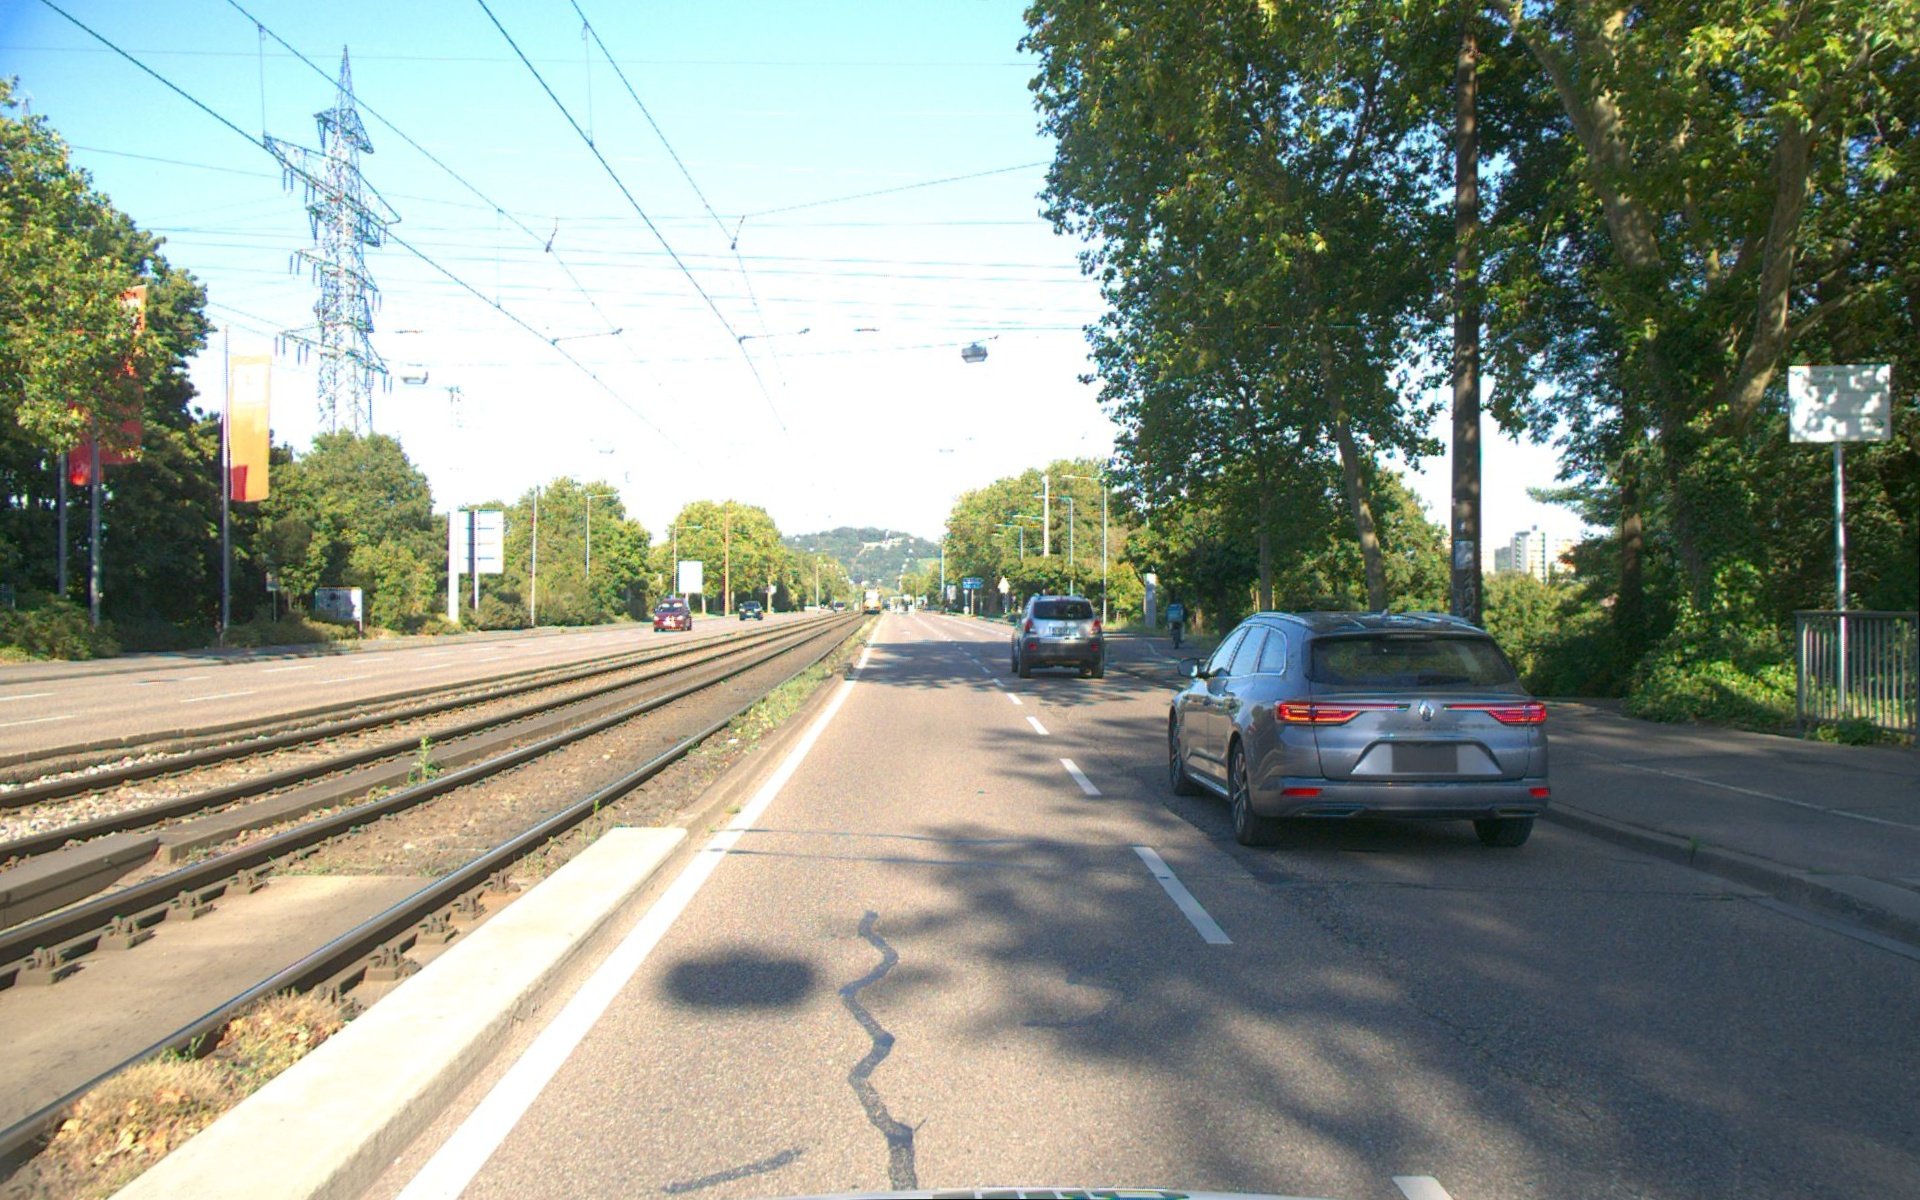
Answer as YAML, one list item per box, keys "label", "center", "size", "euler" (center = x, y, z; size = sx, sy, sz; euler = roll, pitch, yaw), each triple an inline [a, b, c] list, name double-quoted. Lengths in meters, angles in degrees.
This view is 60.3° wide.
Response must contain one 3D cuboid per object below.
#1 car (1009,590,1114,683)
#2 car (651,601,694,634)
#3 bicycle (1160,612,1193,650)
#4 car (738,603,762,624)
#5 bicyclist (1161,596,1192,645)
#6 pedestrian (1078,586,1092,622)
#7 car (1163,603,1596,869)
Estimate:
- label: "car"
  center: [2.147, 0.740, 36.010]
  size: [1.845, 1.827, 3.999]
  euler: [2, 1, -2]
- label: "car"
  center: [-16.175, 0.979, 93.146]
  size: [1.825, 1.750, 3.999]
  euler: [0, 1, -2]
- label: "bicycle"
  center: [6.775, 0.961, 51.844]
  size: [0.778, 1.113, 1.895]
  euler: [-2, 0, 2]
- label: "car"
  center: [-18.601, 1.161, 146.767]
  size: [1.868, 1.672, 3.997]
  euler: [2, 1, -4]
- label: "bicyclist"
  center: [6.763, 0.622, 51.710]
  size: [0.778, 1.485, 1.112]
  euler: [-2, 0, 2]
- label: "pedestrian"
  center: [6.698, 0.220, 88.951]
  size: [0.613, 1.904, 0.623]
  euler: [2, 0, -2]
- label: "car"
  center: [2.664, 0.774, 11.689]
  size: [1.828, 1.493, 4.665]
  euler: [0, 0, -1]
